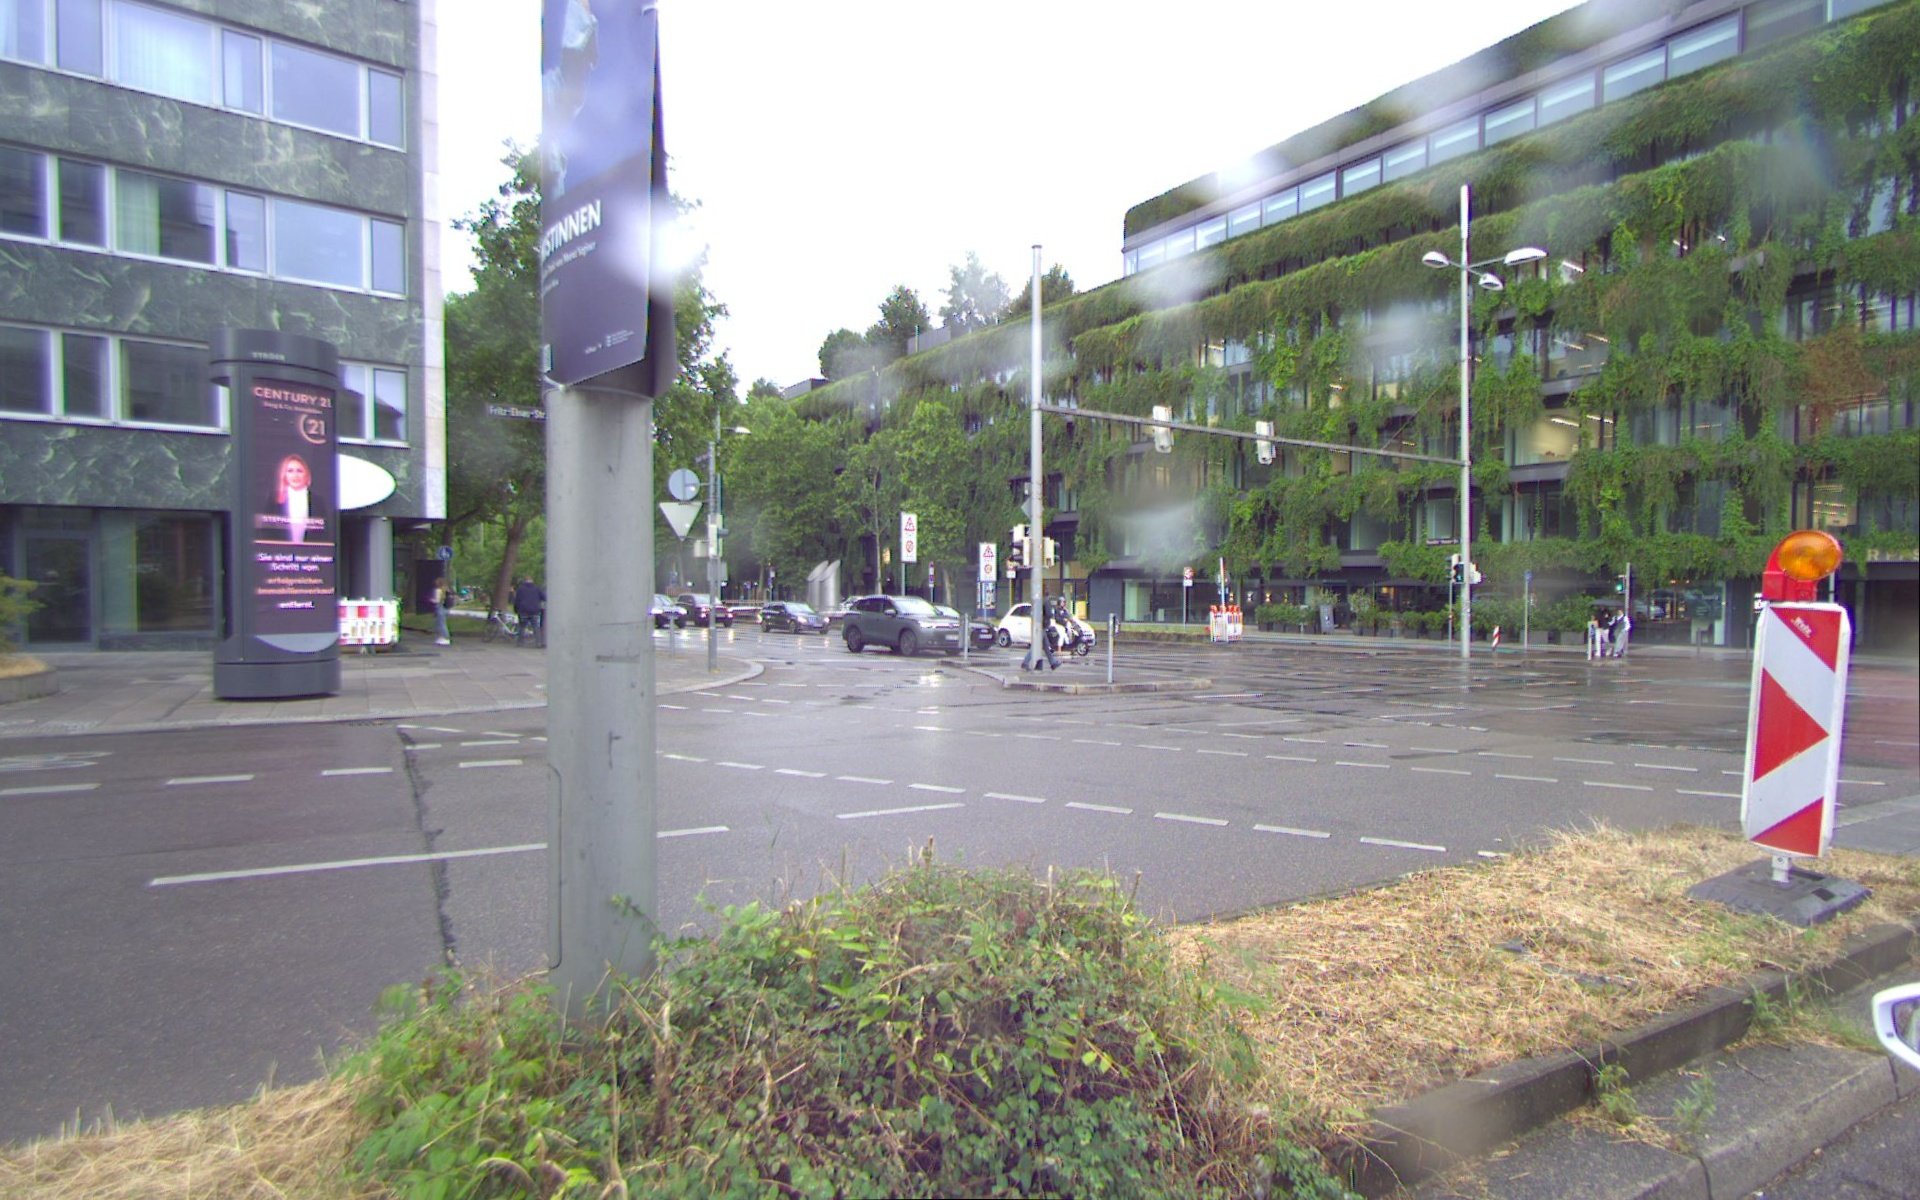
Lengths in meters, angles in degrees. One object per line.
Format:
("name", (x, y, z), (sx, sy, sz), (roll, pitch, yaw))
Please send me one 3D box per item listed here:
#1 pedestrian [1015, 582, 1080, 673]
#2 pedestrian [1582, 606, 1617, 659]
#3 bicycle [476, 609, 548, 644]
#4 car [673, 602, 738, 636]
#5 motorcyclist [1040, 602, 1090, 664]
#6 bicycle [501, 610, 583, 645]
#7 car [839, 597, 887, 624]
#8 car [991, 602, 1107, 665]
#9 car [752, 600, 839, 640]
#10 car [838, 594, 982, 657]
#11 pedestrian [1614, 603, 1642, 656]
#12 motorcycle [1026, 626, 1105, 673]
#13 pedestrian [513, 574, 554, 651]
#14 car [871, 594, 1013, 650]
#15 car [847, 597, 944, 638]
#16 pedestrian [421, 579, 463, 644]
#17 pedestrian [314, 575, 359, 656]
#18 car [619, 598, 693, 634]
("pedestrian", (1.918, 0.593, 22.017), (1.225, 1.910, 0.685), (1, 2, -34))
("pedestrian", (22.257, 1.125, 34.962), (0.923, 1.781, 1.167), (1, 0, 37))
("bicycle", (-12.383, 0.724, 27.781), (1.773, 0.946, 0.473), (1, 0, -21))
("car", (-13.764, 1.004, 54.281), (1.805, 1.674, 4.053), (3, -1, -40))
("motorcyclist", (3.034, 0.941, 29.066), (1.173, 1.725, 0.843), (1, 0, 44))
("bicycle", (-12.116, 0.794, 29.167), (2.170, 0.968, 0.423), (2, -1, -44))
("car", (-7.504, 0.810, 77.309), (1.979, 2.040, 4.073), (1, -1, -34))
("car", (2.912, 1.056, 33.260), (1.985, 1.948, 3.417), (1, 0, -42))
("car", (-7.530, 0.882, 45.740), (1.986, 1.674, 4.050), (3, -1, -42))
("car", (-1.508, 0.680, 29.068), (1.985, 1.674, 4.186), (1, 0, -42))
("pedestrian", (22.936, 1.012, 34.499), (0.731, 1.781, 0.972), (1, 0, 37))
("motorcycle", (3.038, 1.406, 29.056), (2.204, 1.227, 0.843), (1, 0, 44))
("pedestrian", (-10.852, 0.326, 25.556), (0.887, 1.909, 0.781), (1, -4, -30))
("car", (-0.673, 0.663, 32.744), (1.957, 1.674, 4.755), (1, 0, -43))
("car", (-2.585, 0.666, 39.690), (1.858, 1.543, 3.855), (1, 0, -42))
("pedestrian", (-13.272, 0.302, 25.717), (0.912, 1.606, 0.828), (1, -4, -30))
("pedestrian", (-14.980, 0.381, 24.121), (0.868, 1.878, 1.015), (1, -4, -34))
("car", (-15.348, 0.786, 50.601), (1.986, 1.674, 4.050), (3, -1, -42))
